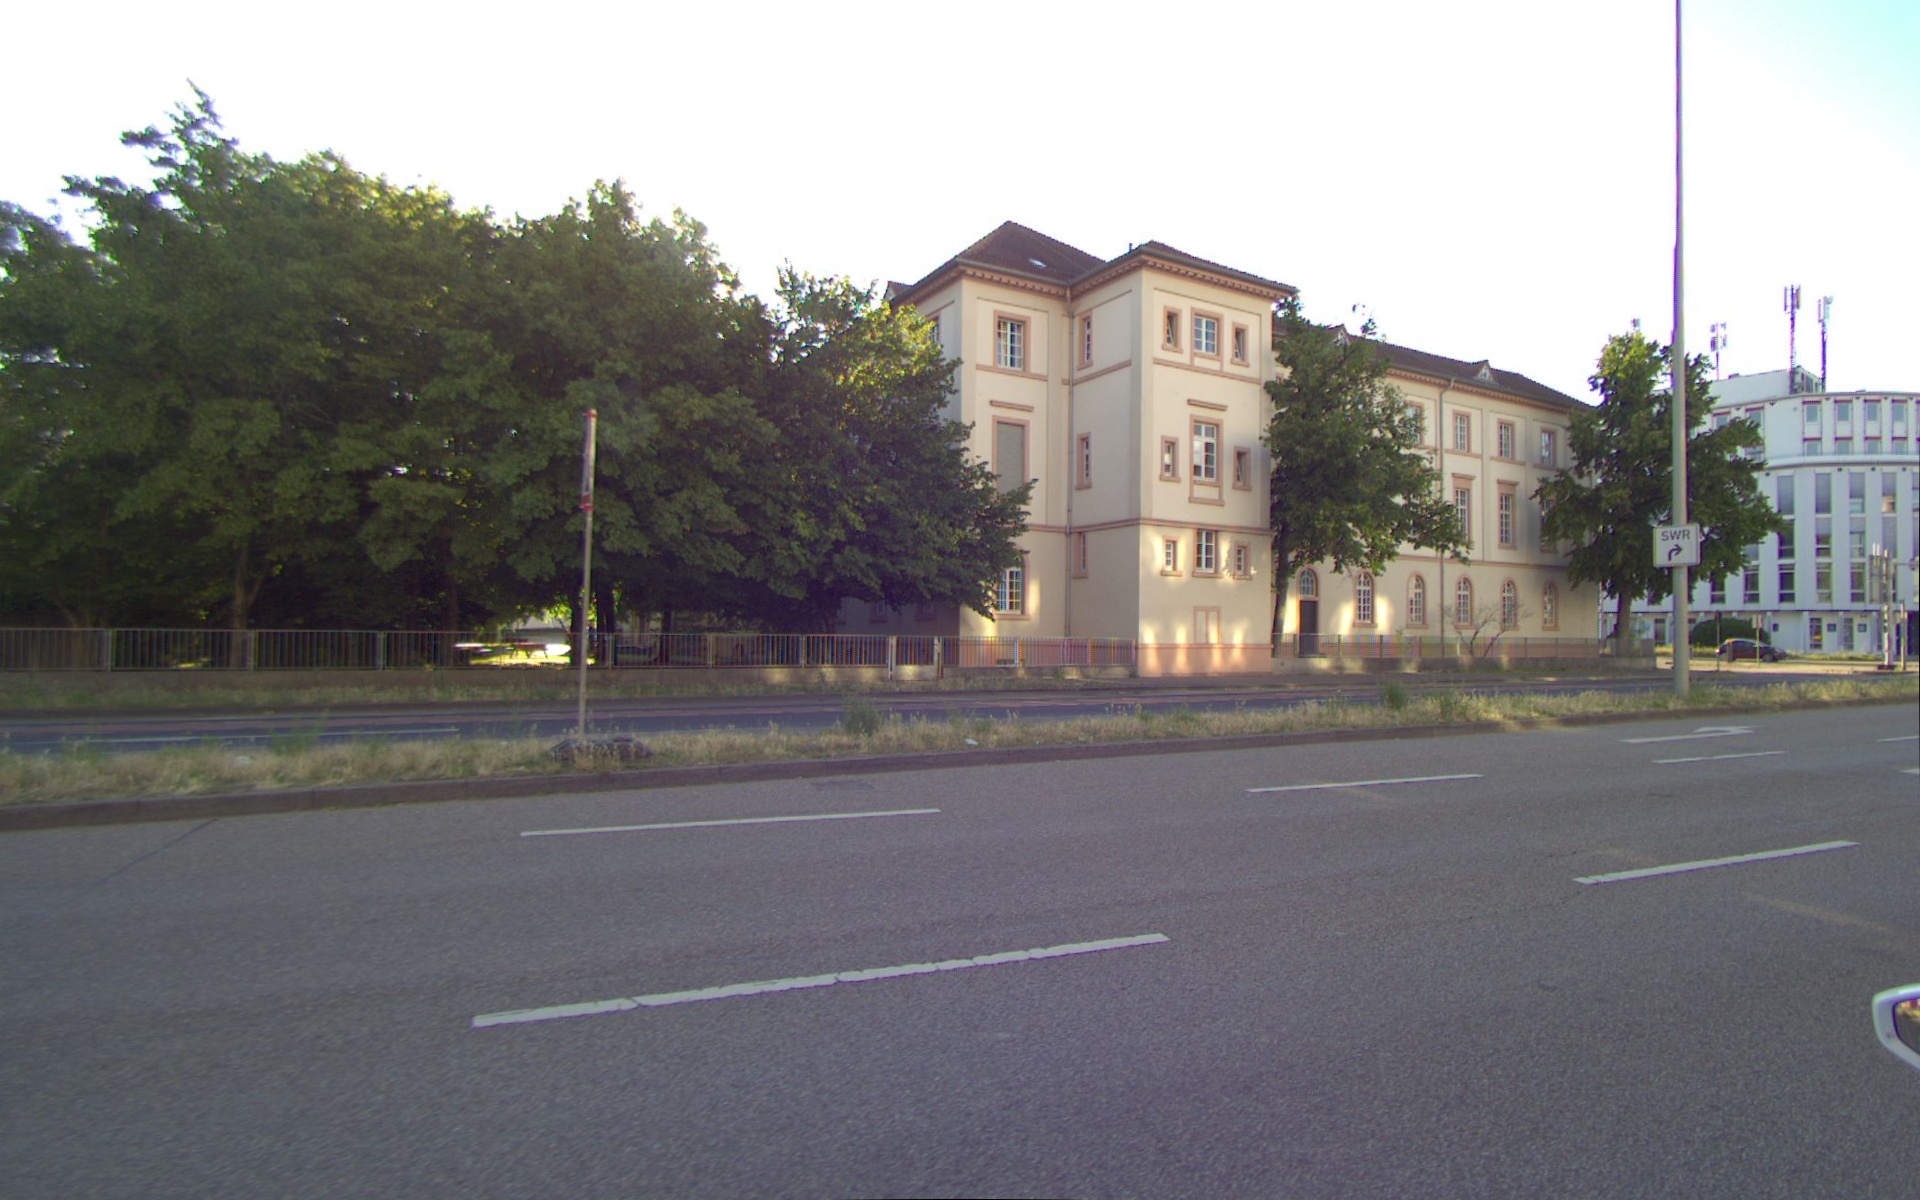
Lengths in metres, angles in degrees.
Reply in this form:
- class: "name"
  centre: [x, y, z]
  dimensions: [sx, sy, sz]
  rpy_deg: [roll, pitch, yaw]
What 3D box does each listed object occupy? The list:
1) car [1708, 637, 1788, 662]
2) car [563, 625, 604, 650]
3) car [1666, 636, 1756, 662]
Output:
- class: "car"
  centre: [51.704, 3.286, 65.955]
  dimensions: [1.844, 1.549, 3.786]
  rpy_deg: [4, -5, -34]
- class: "car"
  centre: [-24.328, 2.425, 64.831]
  dimensions: [1.976, 1.541, 3.659]
  rpy_deg: [1, -2, -29]
- class: "car"
  centre: [48.927, 3.178, 65.518]
  dimensions: [1.974, 1.650, 4.330]
  rpy_deg: [2, -2, -26]
